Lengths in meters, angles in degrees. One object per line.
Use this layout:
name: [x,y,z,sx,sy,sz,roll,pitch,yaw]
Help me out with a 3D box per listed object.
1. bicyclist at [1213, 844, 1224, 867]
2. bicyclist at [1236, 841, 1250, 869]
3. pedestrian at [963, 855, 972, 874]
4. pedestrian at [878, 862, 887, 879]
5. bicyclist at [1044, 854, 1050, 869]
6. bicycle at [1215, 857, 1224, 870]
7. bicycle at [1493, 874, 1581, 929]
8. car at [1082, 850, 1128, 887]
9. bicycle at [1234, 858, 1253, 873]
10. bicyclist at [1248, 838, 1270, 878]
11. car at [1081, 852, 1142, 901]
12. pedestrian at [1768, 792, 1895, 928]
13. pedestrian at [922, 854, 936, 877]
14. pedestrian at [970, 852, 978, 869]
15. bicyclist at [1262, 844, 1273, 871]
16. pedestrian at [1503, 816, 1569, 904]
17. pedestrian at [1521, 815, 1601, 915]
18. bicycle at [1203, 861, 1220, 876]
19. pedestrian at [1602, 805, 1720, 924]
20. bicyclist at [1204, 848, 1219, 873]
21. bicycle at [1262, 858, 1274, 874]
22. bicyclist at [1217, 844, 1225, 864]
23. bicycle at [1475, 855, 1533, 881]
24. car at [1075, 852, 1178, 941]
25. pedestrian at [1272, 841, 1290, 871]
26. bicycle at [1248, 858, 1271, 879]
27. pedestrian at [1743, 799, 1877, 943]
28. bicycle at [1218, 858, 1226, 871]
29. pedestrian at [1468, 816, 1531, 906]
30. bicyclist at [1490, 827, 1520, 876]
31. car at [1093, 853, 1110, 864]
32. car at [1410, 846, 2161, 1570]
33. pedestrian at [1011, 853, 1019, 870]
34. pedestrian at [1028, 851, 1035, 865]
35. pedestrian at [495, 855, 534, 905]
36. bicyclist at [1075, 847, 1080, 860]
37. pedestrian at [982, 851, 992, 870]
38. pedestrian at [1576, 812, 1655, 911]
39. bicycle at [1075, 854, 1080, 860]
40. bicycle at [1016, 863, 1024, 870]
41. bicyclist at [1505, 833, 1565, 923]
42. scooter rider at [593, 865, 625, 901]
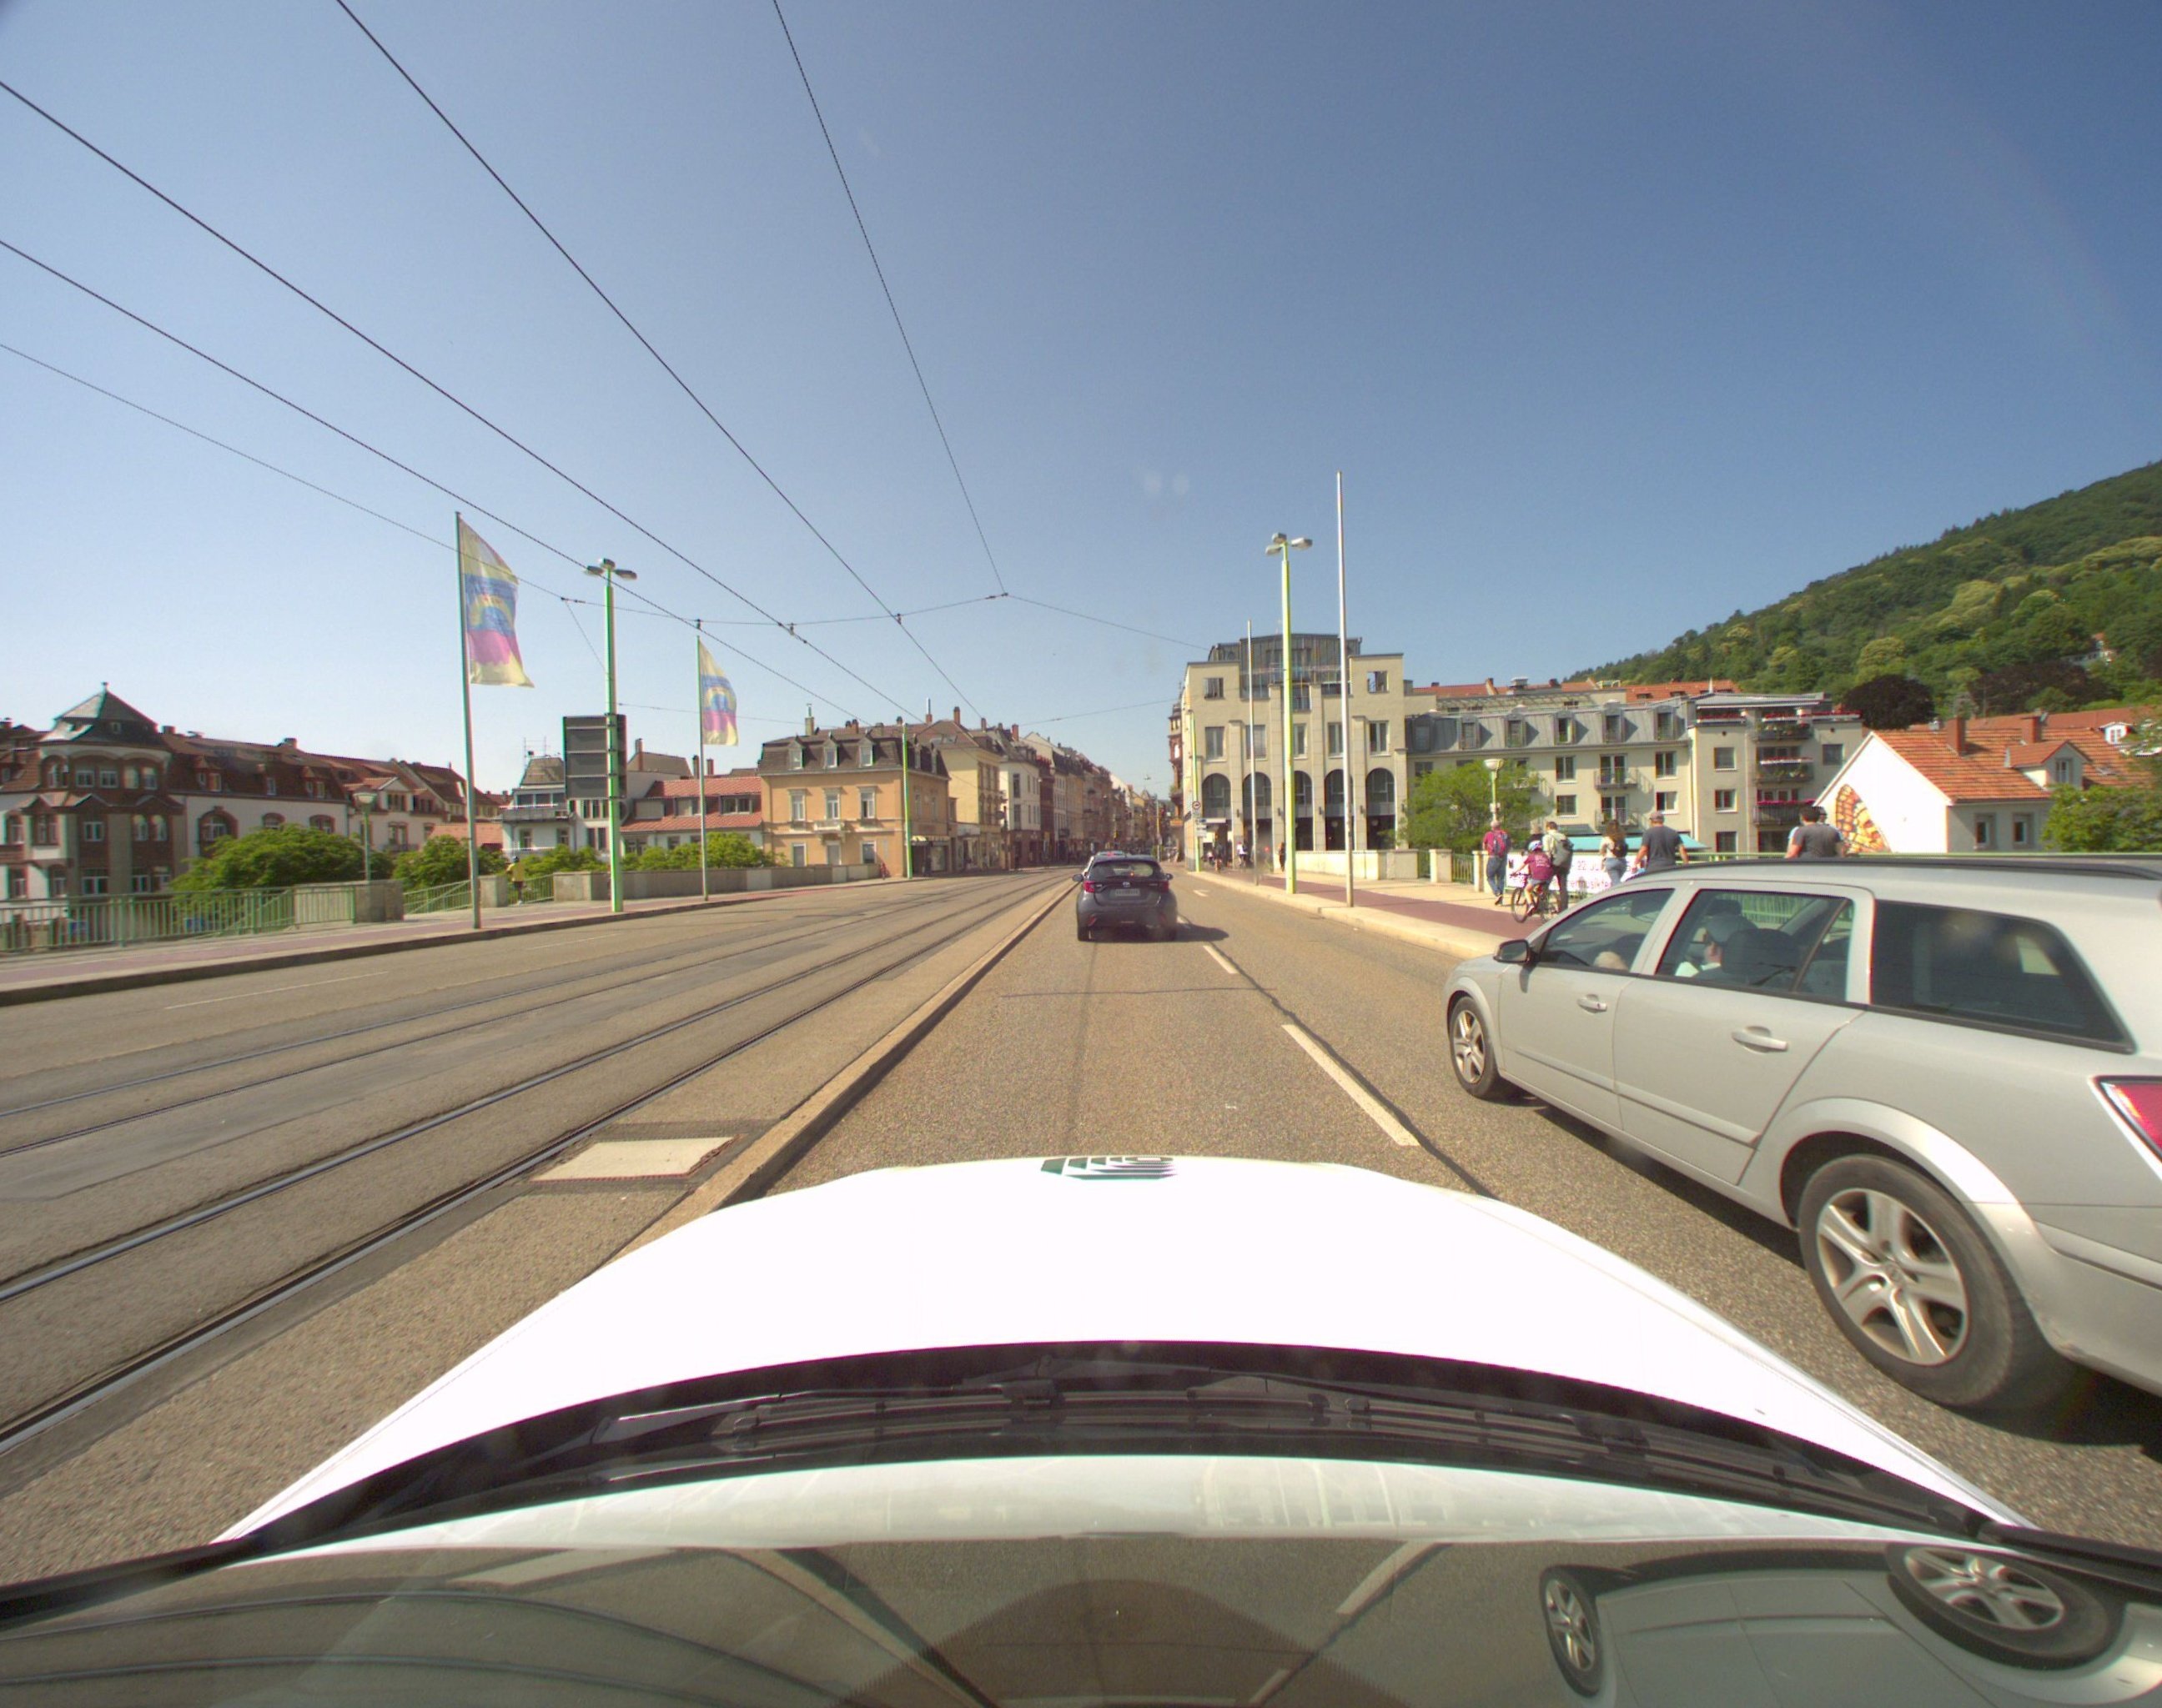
bicyclist: [8.296,0.087,49.020,0.535,1.316,0.672,-3,0,5]
bicyclist: [8.878,0.050,44.620,0.487,1.466,0.438,-3,0,-37]
pedestrian: [-10.140,0.945,72.908,0.646,1.602,0.566,3,2,2]
pedestrian: [-13.569,1.151,55.709,0.410,1.146,0.545,3,0,7]
bicyclist: [-3.858,0.829,92.744,0.625,1.650,0.622,0,1,3]
bicycle: [8.322,0.551,49.077,0.414,0.765,1.207,-3,0,6]
bicycle: [7.344,0.739,13.187,0.512,0.765,1.661,-3,0,2]
car: [1.066,0.603,35.493,1.890,1.530,4.002,0,0,2]
bicycle: [8.893,0.632,44.632,0.419,0.765,0.951,-3,0,-37]
bicyclist: [7.726,0.178,35.376,0.699,1.695,0.925,-2,0,3]
car: [1.004,0.688,27.300,1.890,1.530,4.002,0,0,2]
pedestrian: [10.097,0.073,11.001,0.736,1.718,1.016,-2,0,2]
pedestrian: [-11.417,0.858,61.115,0.758,1.654,0.713,3,0,9]
pedestrian: [-10.323,0.599,78.528,0.646,1.602,0.566,3,2,2]
bicyclist: [9.671,0.175,42.219,0.420,1.383,0.444,-3,0,2]
pedestrian: [9.600,0.122,17.221,0.736,1.777,1.016,-3,0,2]
pedestrian: [8.720,0.200,14.838,0.751,1.718,1.073,-3,0,2]
bicycle: [13.282,1.503,83.066,1.109,1.420,3.004,3,0,-3]
pedestrian: [9.298,0.161,13.121,0.974,1.777,1.208,-3,0,2]
bicyclist: [13.285,0.671,82.831,1.226,2.529,1.103,3,0,-5]
bicycle: [9.699,0.614,42.215,0.415,0.765,0.962,-3,0,2]
bicyclist: [9.044,-0.016,52.560,0.420,1.256,0.444,-3,0,5]
bicycle: [14.822,0.486,28.580,1.805,0.882,0.805,0,0,26]
car: [0.820,0.706,15.468,1.713,1.473,3.659,0,0,2]
pedestrian: [11.073,0.098,45.072,0.736,1.615,1.016,3,0,2]
bicycle: [7.750,0.625,35.396,0.701,0.882,1.527,-3,0,3]
pedestrian: [9.317,0.206,10.455,0.736,1.718,1.016,-3,0,2]
bicycle: [9.080,0.689,52.518,0.414,0.765,0.963,-3,0,5]
pedestrian: [8.767,0.138,17.101,0.736,1.802,1.016,-3,0,2]
bicyclist: [14.859,-0.088,28.524,0.913,1.695,1.150,0,0,28]
car: [2.950,0.675,113.853,1.720,1.460,4.386,-2,0,10]
car: [3.099,0.708,3.570,1.699,1.466,4.328,0,0,2]
pedestrian: [-7.165,0.781,88.493,0.733,1.766,0.788,-1,1,2]
pedestrian: [-6.058,0.480,99.928,0.733,1.766,0.787,-1,1,2]
pedestrian: [-20.714,0.943,29.787,0.741,1.781,0.804,-2,0,10]
bicyclist: [-0.489,-0.076,106.100,0.625,1.650,0.622,0,1,3]
pedestrian: [-9.007,0.654,77.689,0.733,1.766,0.787,3,0,2]
pedestrian: [9.969,0.138,15.221,0.736,1.746,1.016,-3,0,2]
bicycle: [-0.493,0.431,106.113,0.618,0.716,1.732,0,1,2]
bicycle: [-6.598,1.349,88.628,0.618,0.716,1.772,-1,1,2]
bicyclist: [7.322,0.377,13.156,0.532,1.383,0.669,-3,0,2]
scooter rider: [-17.901,1.086,30.890,0.763,1.315,0.600,2,0,13]
